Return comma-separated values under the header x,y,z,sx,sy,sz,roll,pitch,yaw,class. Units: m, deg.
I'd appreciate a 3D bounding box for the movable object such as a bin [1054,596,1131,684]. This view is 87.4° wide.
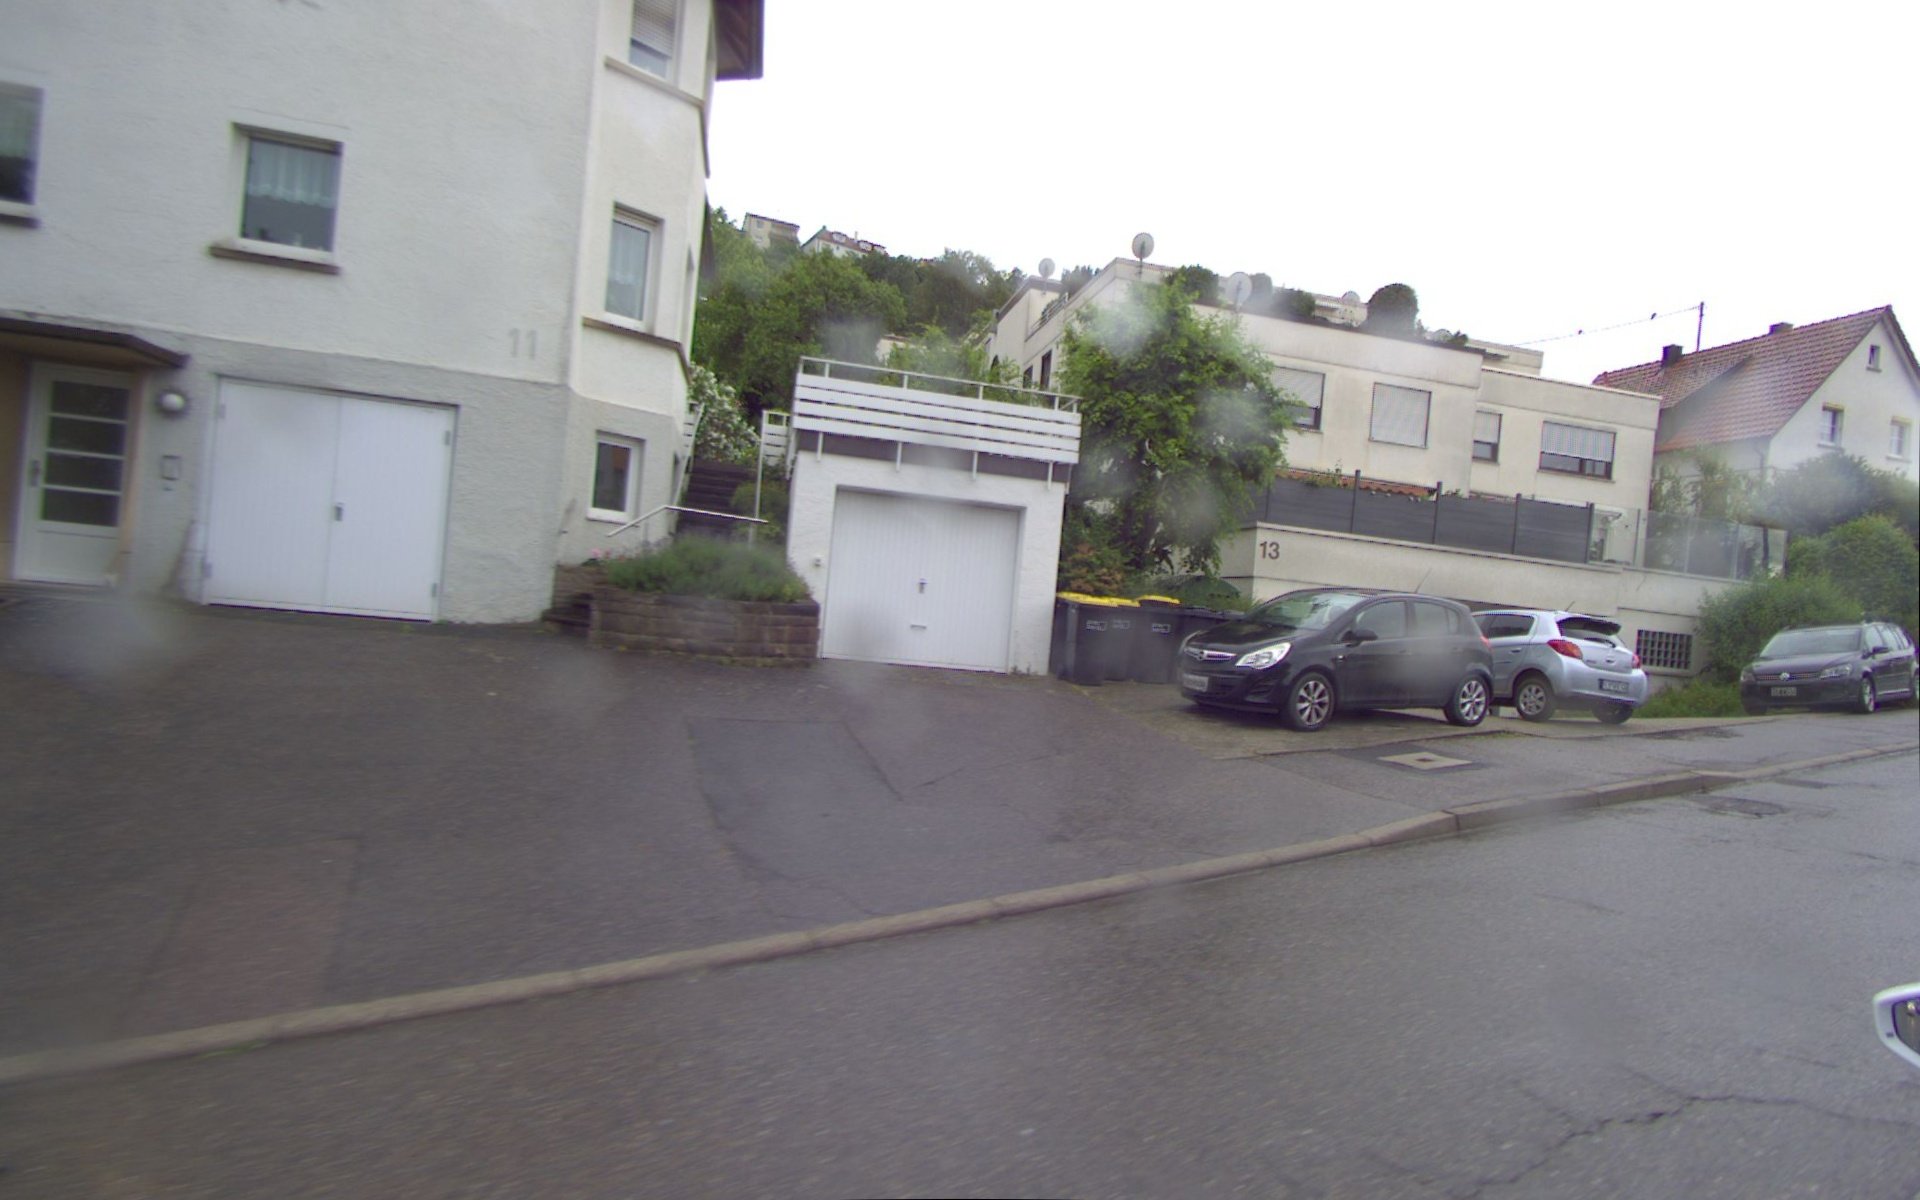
x,y,z,sx,sy,sz,roll,pitch,yaw,class
1.652,0.496,12.620,0.690,1.071,0.749,2,-1,-18,movable object such as a bin

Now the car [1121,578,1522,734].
x,y,z,sx,sy,sz,roll,pitch,yaw,class
4.070,0.590,11.240,4.192,1.395,1.759,2,3,-27,car

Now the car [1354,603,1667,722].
x,y,z,sx,sy,sz,roll,pitch,yaw,class
7.872,1.004,14.810,1.775,1.496,3.827,2,-6,-18,car

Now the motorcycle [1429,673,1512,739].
x,y,z,sx,sy,sz,roll,pitch,yaw,class
11.328,2.330,22.358,0.633,1.268,1.891,1,0,-8,motorcycle

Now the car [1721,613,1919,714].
x,y,z,sx,sy,sz,roll,pitch,yaw,class
15.875,1.117,18.365,4.372,1.618,1.792,2,-1,-34,car
